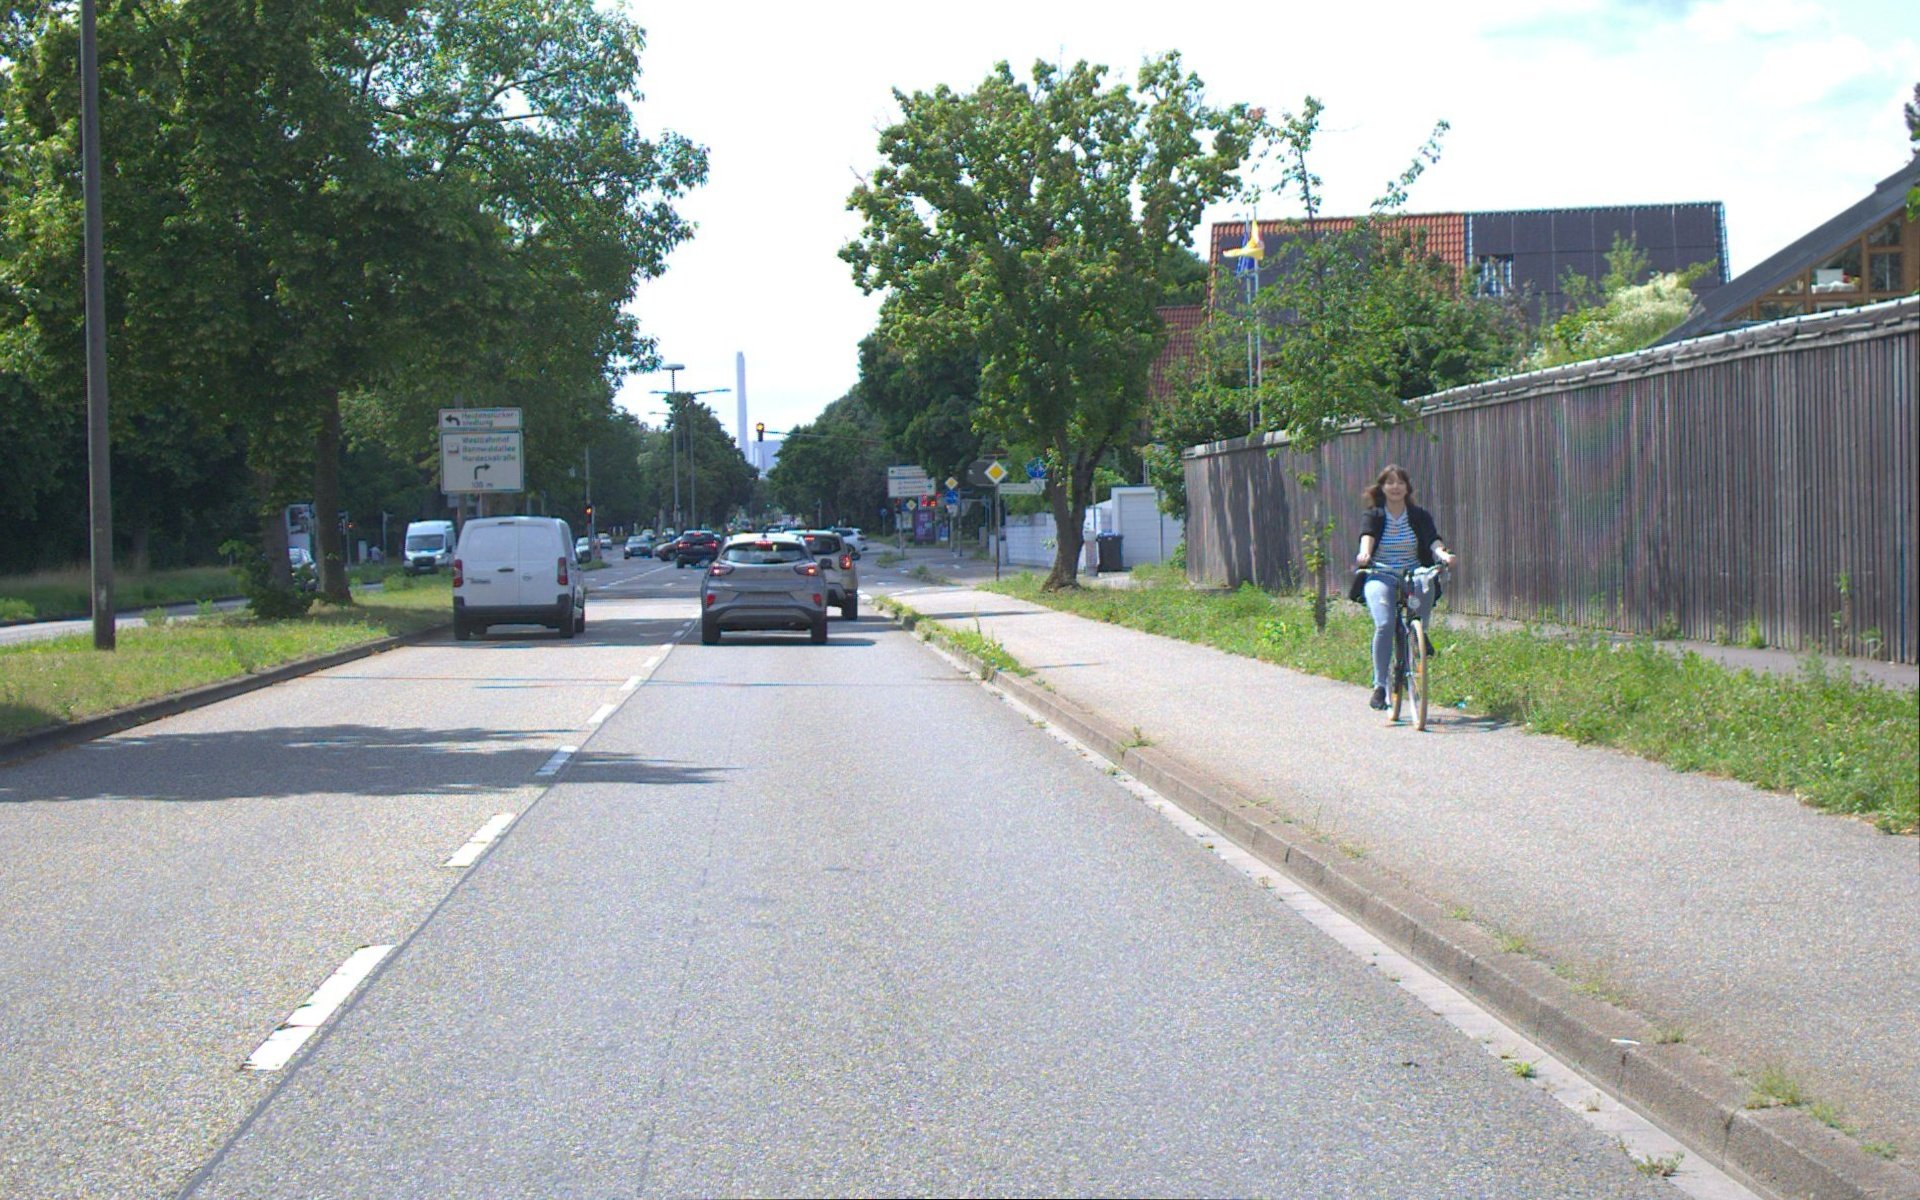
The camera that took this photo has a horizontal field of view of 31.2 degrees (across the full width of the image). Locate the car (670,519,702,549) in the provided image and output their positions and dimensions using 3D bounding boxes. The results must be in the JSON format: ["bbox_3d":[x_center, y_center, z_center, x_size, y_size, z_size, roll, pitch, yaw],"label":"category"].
[{"bbox_3d":[-17.151,-4.137,215.239,1.779,1.761,4.151,-1,1,-3],"label":"car"}]

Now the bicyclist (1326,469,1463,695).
[{"bbox_3d":[2.838,-0.125,22.546,0.654,1.407,0.986,-4,1,-2],"label":"bicyclist"}]

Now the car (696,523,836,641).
[{"bbox_3d":[-2.750,-0.292,49.203,1.875,1.583,4.185,-1,1,-3],"label":"car"}]

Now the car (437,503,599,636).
[{"bbox_3d":[-6.729,-0.503,52.744,2.065,1.905,4.647,-1,2,-3],"label":"car"}]

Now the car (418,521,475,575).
[{"bbox_3d":[-23.896,-2.456,160.149,2.045,2.423,5.250,-1,1,-3],"label":"car"}]

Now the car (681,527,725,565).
[{"bbox_3d":[-12.107,-2.563,162.123,1.941,1.761,4.147,-1,1,-3],"label":"car"}]

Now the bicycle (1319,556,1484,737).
[{"bbox_3d":[2.866,0.276,22.549,0.646,1.064,2.278,-4,1,-2],"label":"bicycle"}]

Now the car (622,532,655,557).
[{"bbox_3d":[-21.038,-3.619,224.898,1.892,1.583,4.110,-1,1,-3],"label":"car"}]

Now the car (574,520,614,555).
[{"bbox_3d":[-19.062,-3.263,179.278,1.779,1.761,4.126,-1,1,-3],"label":"car"}]

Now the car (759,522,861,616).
[{"bbox_3d":[-2.766,-0.593,63.339,1.779,1.637,4.197,-1,1,-3],"label":"car"}]
